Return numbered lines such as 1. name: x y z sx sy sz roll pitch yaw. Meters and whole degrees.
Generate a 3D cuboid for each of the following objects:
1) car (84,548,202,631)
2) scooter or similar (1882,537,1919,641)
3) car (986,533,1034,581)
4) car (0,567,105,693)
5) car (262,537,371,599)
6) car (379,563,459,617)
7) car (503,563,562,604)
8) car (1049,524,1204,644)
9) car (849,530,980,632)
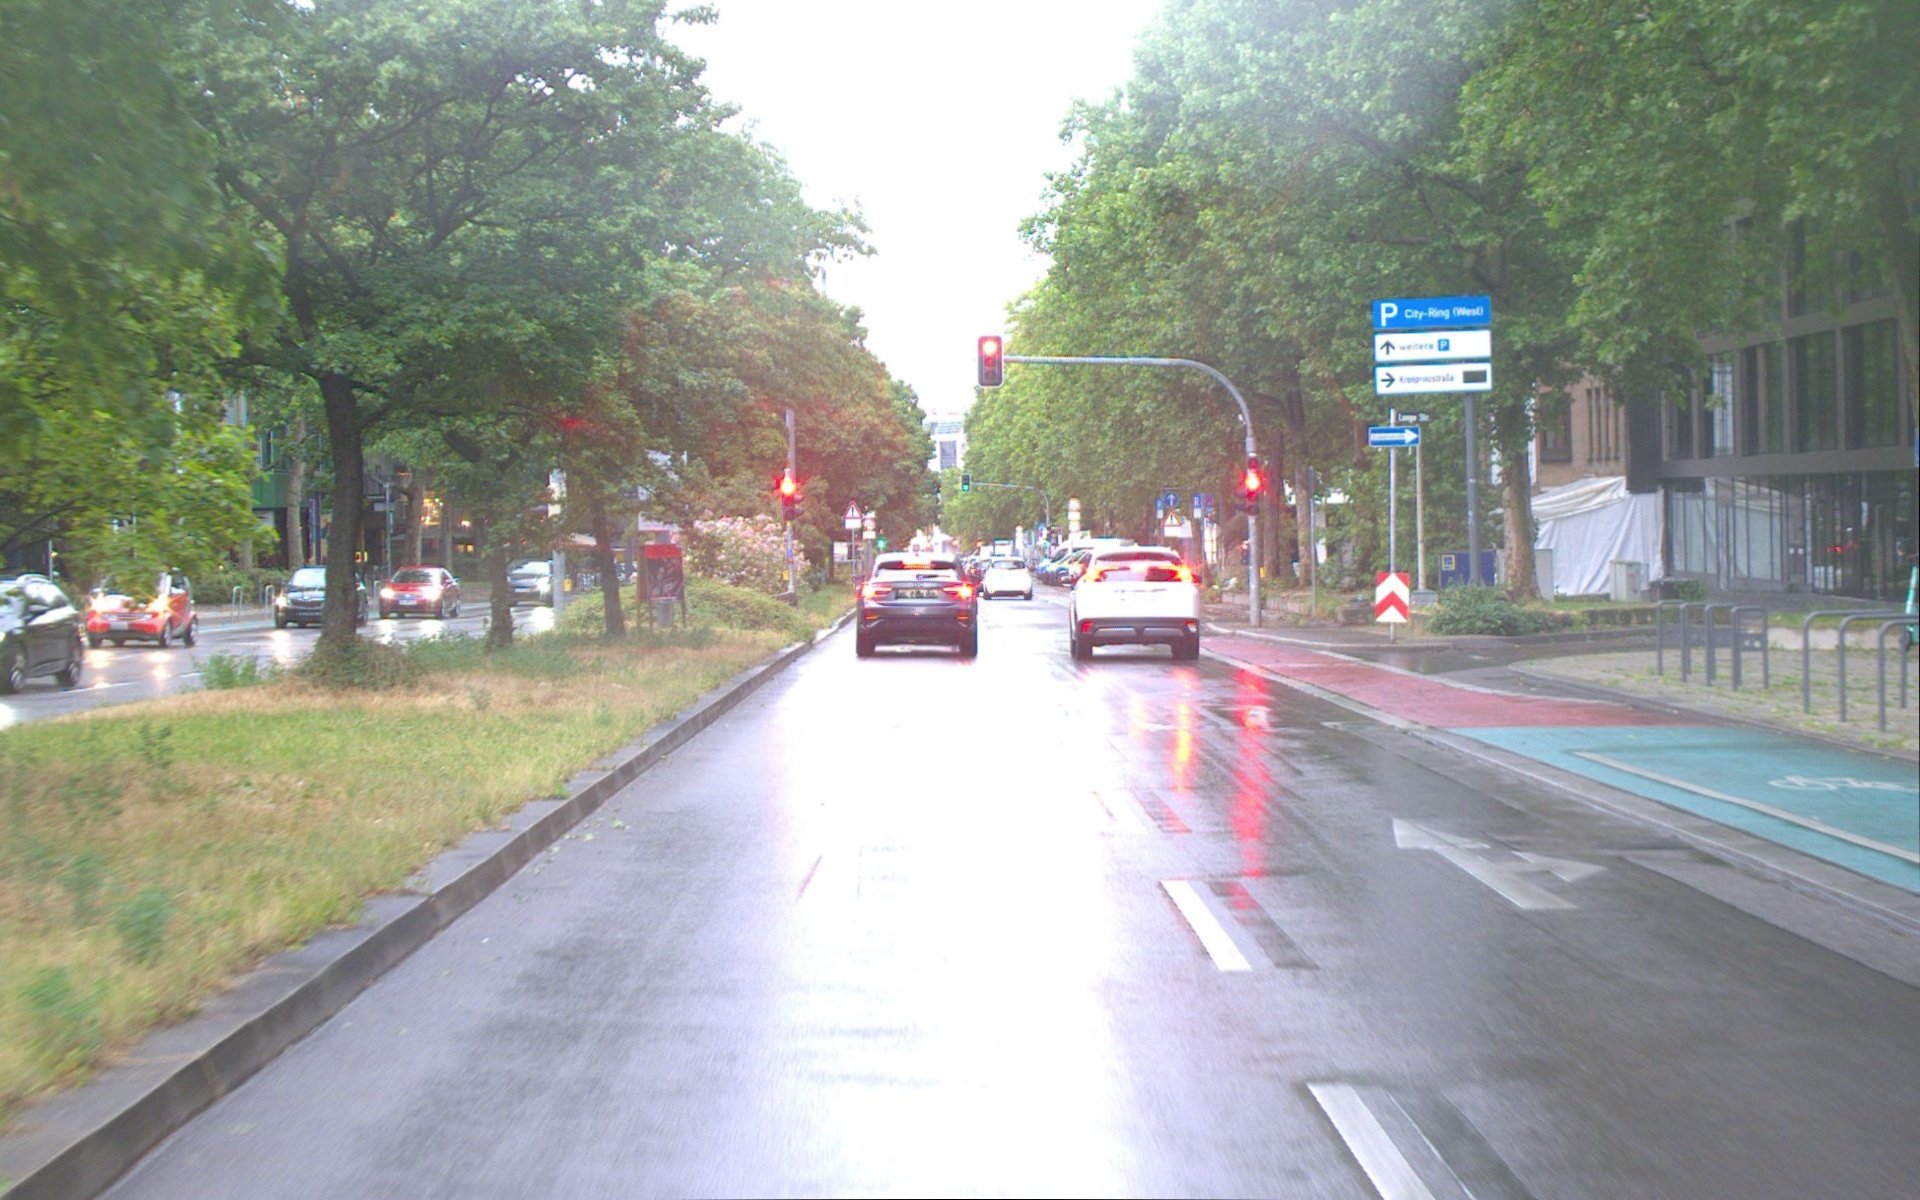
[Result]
1. car: -15.199 -0.209 64.023 1.494 1.458 2.732 -1 1 1
2. scooter or similar: 11.488 -0.138 41.423 0.381 1.224 1.077 0 1 36
3. car: 1.811 -1.587 125.794 1.620 1.660 4.000 -1 1 -1
4. car: -11.963 0.331 42.210 1.749 1.471 4.095 1 0 3
5. car: -15.115 -0.773 80.946 1.843 1.384 4.000 -1 1 -1
6. car: -15.123 -0.296 96.189 1.614 1.389 4.185 -1 2 -1
7. car: -14.709 -0.583 118.431 1.614 1.389 3.597 0 0 -1
8. car: 2.433 -0.283 51.304 1.993 1.649 4.889 -1 2 -1
9. car: -0.708 -0.322 52.882 1.918 1.486 4.000 -1 1 -1
